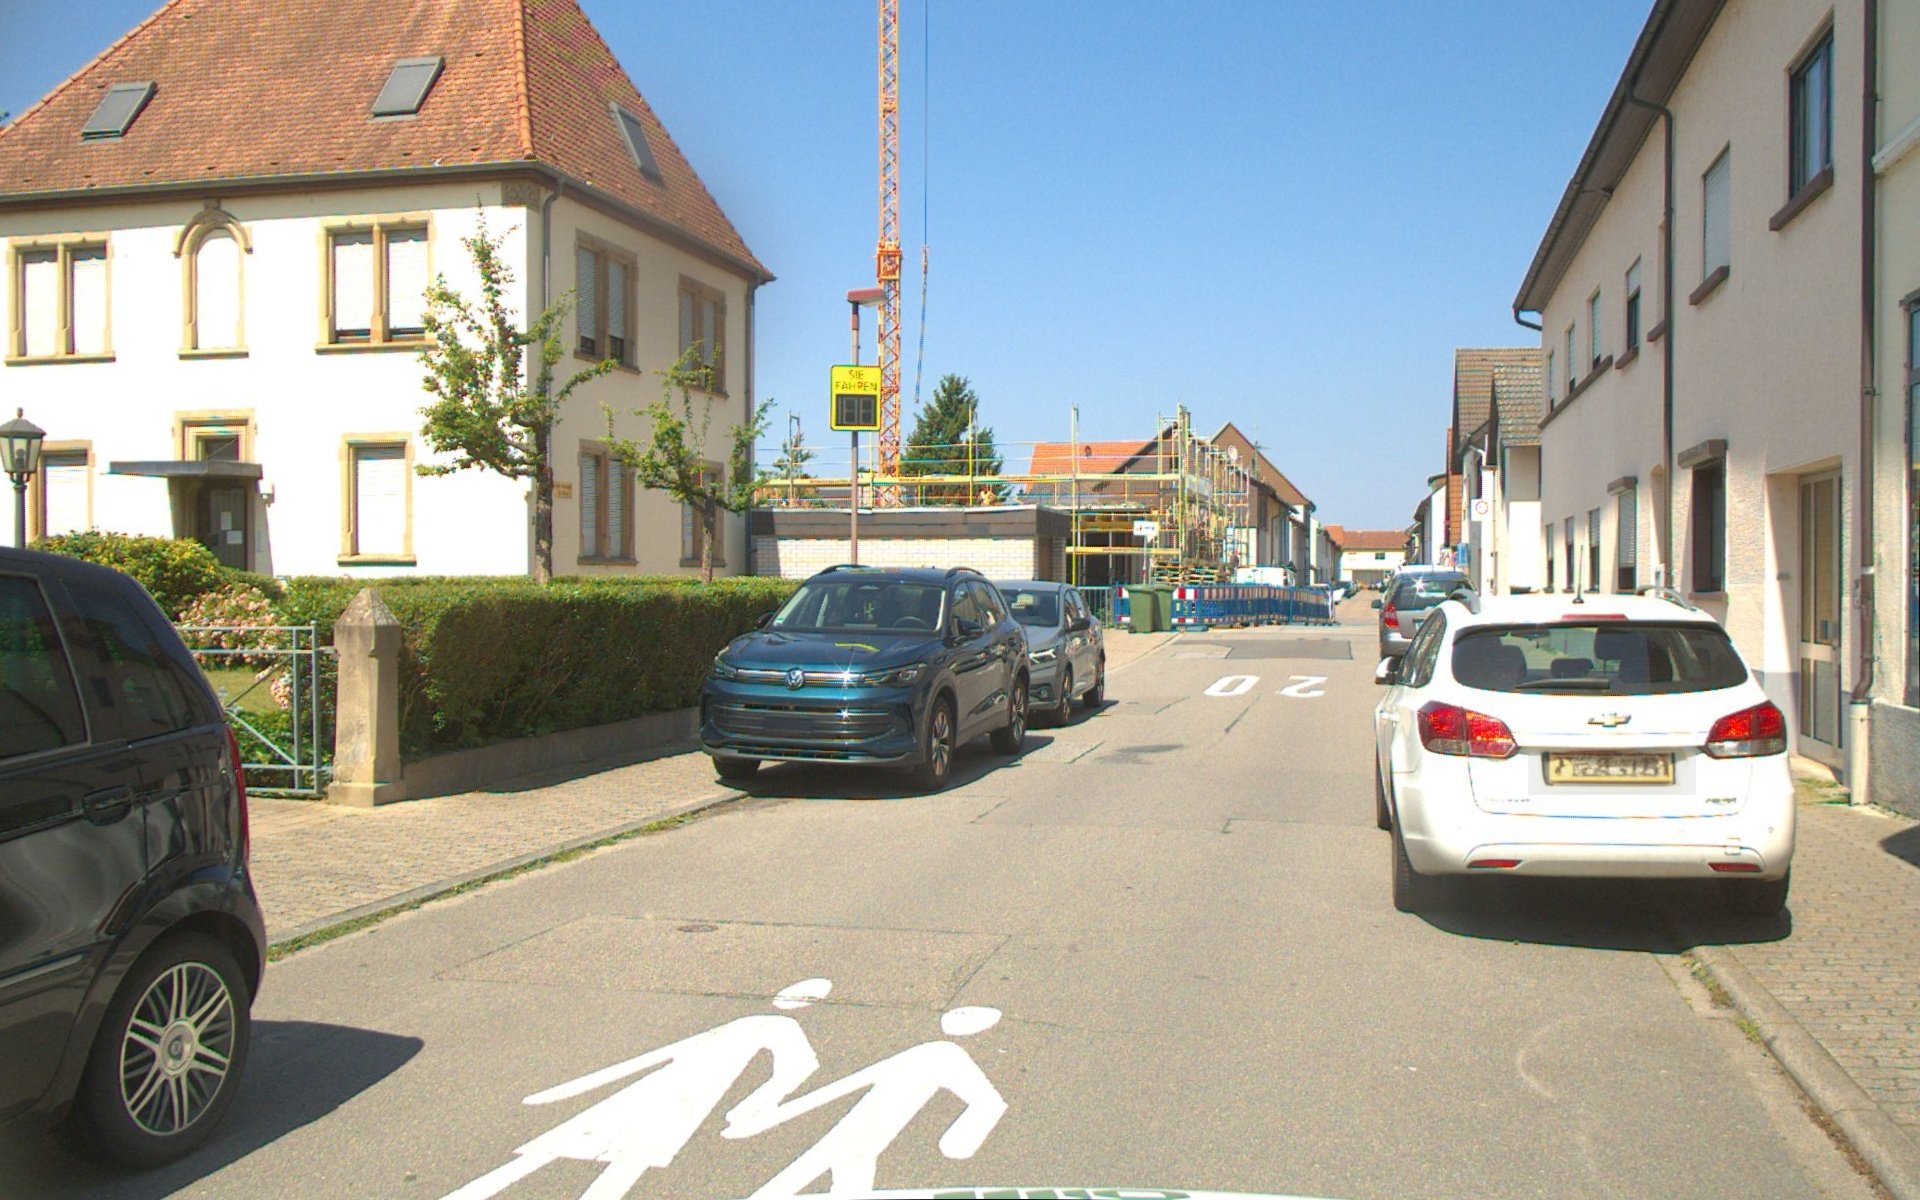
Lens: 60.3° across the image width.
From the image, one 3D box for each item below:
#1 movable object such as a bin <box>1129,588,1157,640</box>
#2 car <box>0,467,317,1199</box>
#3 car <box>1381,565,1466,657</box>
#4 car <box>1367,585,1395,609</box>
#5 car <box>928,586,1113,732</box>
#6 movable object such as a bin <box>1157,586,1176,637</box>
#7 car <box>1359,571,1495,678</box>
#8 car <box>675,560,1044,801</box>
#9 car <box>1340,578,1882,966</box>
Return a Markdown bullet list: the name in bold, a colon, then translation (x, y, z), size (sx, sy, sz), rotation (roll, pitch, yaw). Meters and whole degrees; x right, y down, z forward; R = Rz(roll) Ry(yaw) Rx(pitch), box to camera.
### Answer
- **movable object such as a bin**: translation (4.204, 0.311, 37.929), size (0.608, 1.176, 0.678), rotation (0, 1, 7)
- **car**: translation (-3.079, 0.548, 3.108), size (1.603, 1.657, 3.771), rotation (0, 1, 14)
- **car**: translation (9.239, 0.172, 33.151), size (1.531, 1.641, 3.546), rotation (0, 3, 14)
- **car**: translation (25.049, -0.202, 98.513), size (1.522, 1.411, 3.453), rotation (0, 1, 13)
- **car**: translation (0.786, 0.602, 18.921), size (1.405, 1.500, 3.789), rotation (-1, 0, 13)
- **movable object such as a bin**: translation (4.770, 0.266, 38.278), size (0.422, 1.176, 0.365), rotation (0, 0, 5)
- **car**: translation (7.861, 0.365, 28.142), size (1.844, 1.583, 3.898), rotation (-4, 0, 12)
- **car**: translation (-0.631, 0.533, 13.657), size (1.787, 1.659, 4.220), rotation (0, 1, 15)
- **car**: translation (3.144, 0.677, 8.922), size (1.846, 1.569, 4.246), rotation (0, 1, 9)
